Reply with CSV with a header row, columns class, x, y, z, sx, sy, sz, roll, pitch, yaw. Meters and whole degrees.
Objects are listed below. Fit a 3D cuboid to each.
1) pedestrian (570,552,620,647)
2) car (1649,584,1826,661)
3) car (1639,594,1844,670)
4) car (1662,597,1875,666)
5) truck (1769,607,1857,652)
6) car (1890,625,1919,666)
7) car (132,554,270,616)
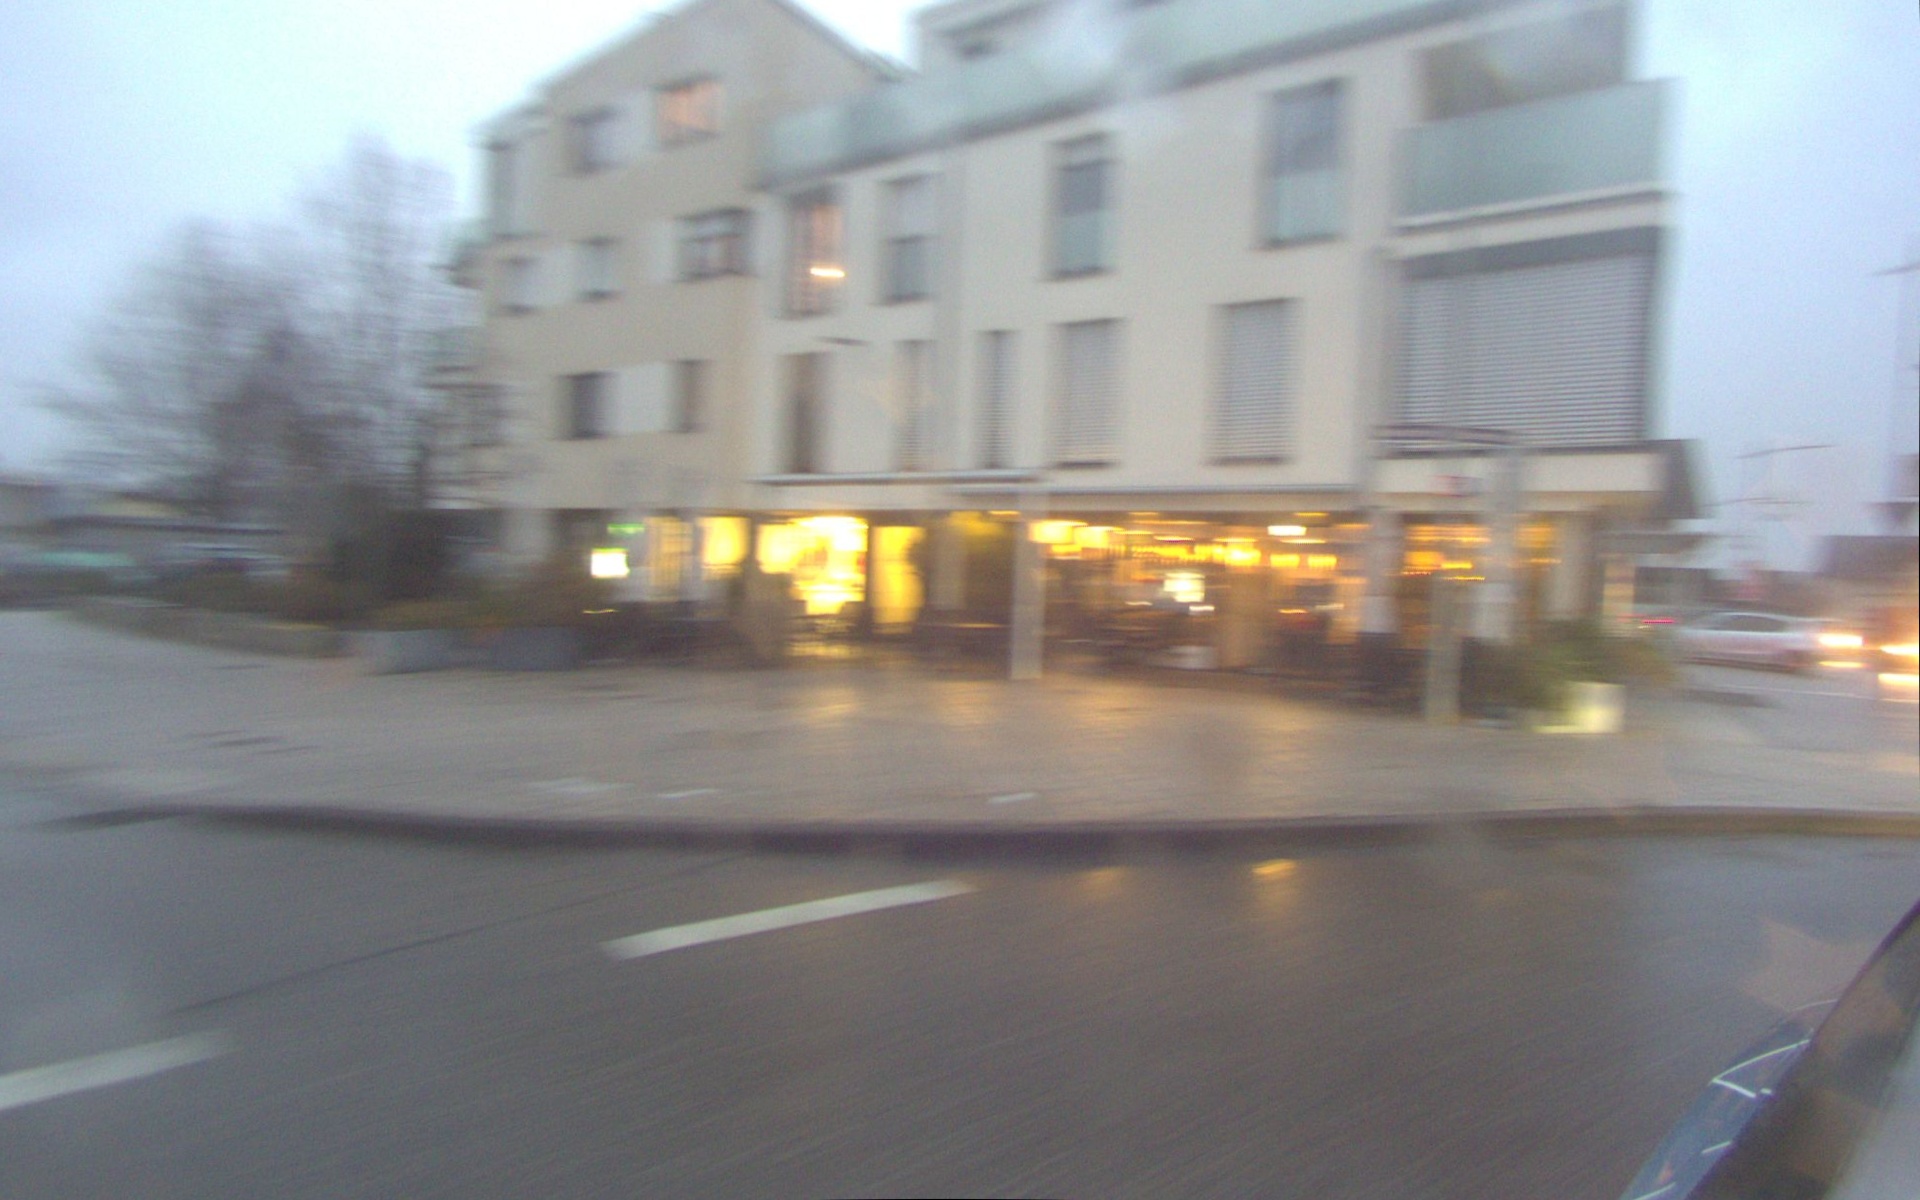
class,x,y,z,sx,sy,sz,roll,pitch,yaw
pedestrian,-5.786,-0.014,16.049,0.447,1.472,0.548,2,0,24
car,26.854,0.734,35.197,4.528,1.956,1.951,9,4,34
car,20.819,0.804,27.206,3.964,1.521,1.797,6,4,27
car,23.215,0.869,29.331,4.491,1.510,1.952,6,1,32
truck,47.099,1.555,56.039,2.227,2.258,6.048,2,1,26
car,39.573,1.858,41.140,1.820,1.564,3.674,2,0,31
car,-20.216,-0.422,26.928,3.737,1.535,1.697,2,1,31
